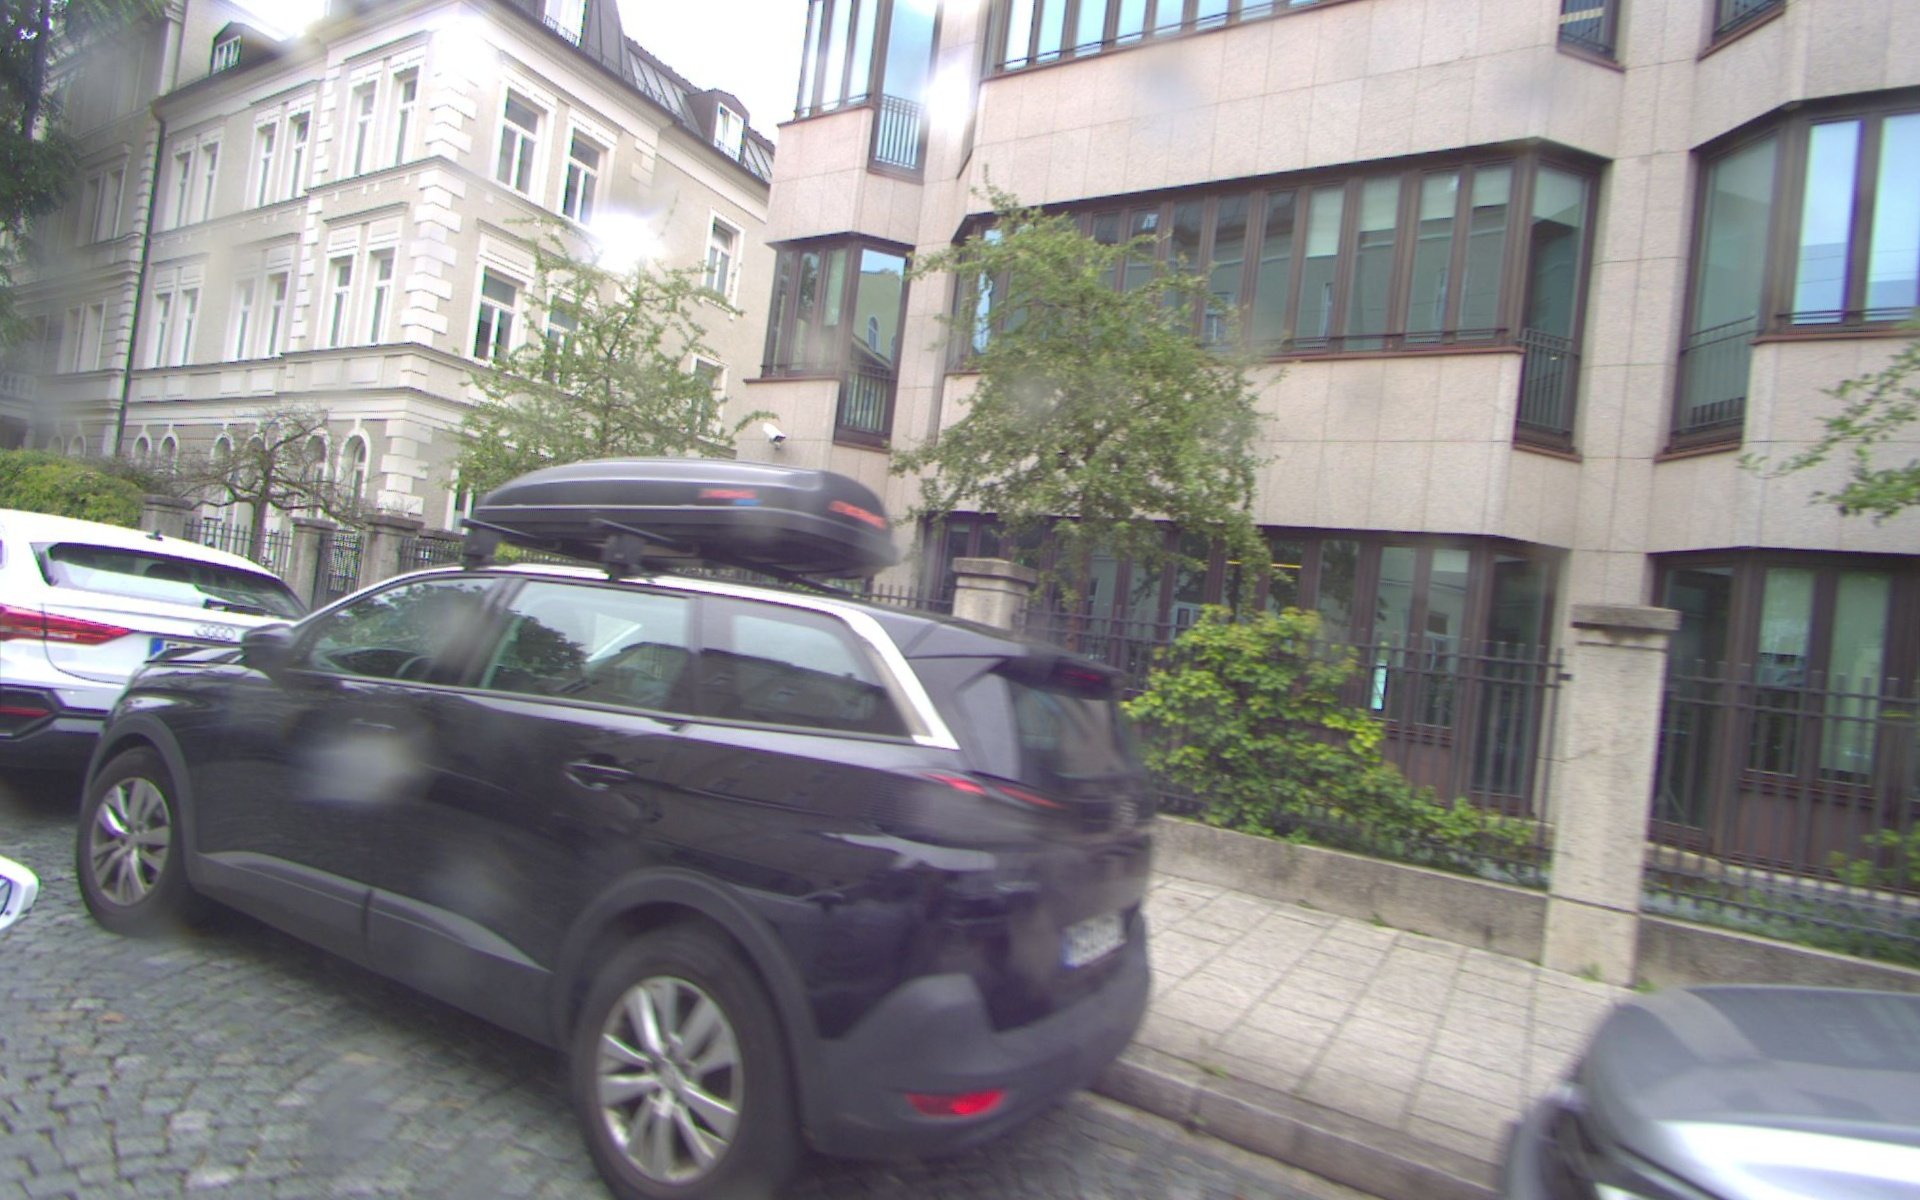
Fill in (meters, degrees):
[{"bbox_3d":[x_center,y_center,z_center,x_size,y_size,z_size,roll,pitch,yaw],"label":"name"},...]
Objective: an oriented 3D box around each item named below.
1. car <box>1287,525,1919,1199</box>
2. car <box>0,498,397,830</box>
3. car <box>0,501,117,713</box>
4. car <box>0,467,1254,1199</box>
[{"bbox_3d":[2.968,1.089,0.902,4.812,1.753,1.878,6,-4,33],"label":"car"},{"bbox_3d":[-5.859,0.203,6.463,4.542,1.506,1.878,6,-4,33],"label":"car"},{"bbox_3d":[-9.915,-0.194,9.184,4.580,1.687,1.879,6,-5,32],"label":"car"},{"bbox_3d":[-1.520,0.662,3.921,4.666,1.752,1.881,6,-5,29],"label":"car"}]
